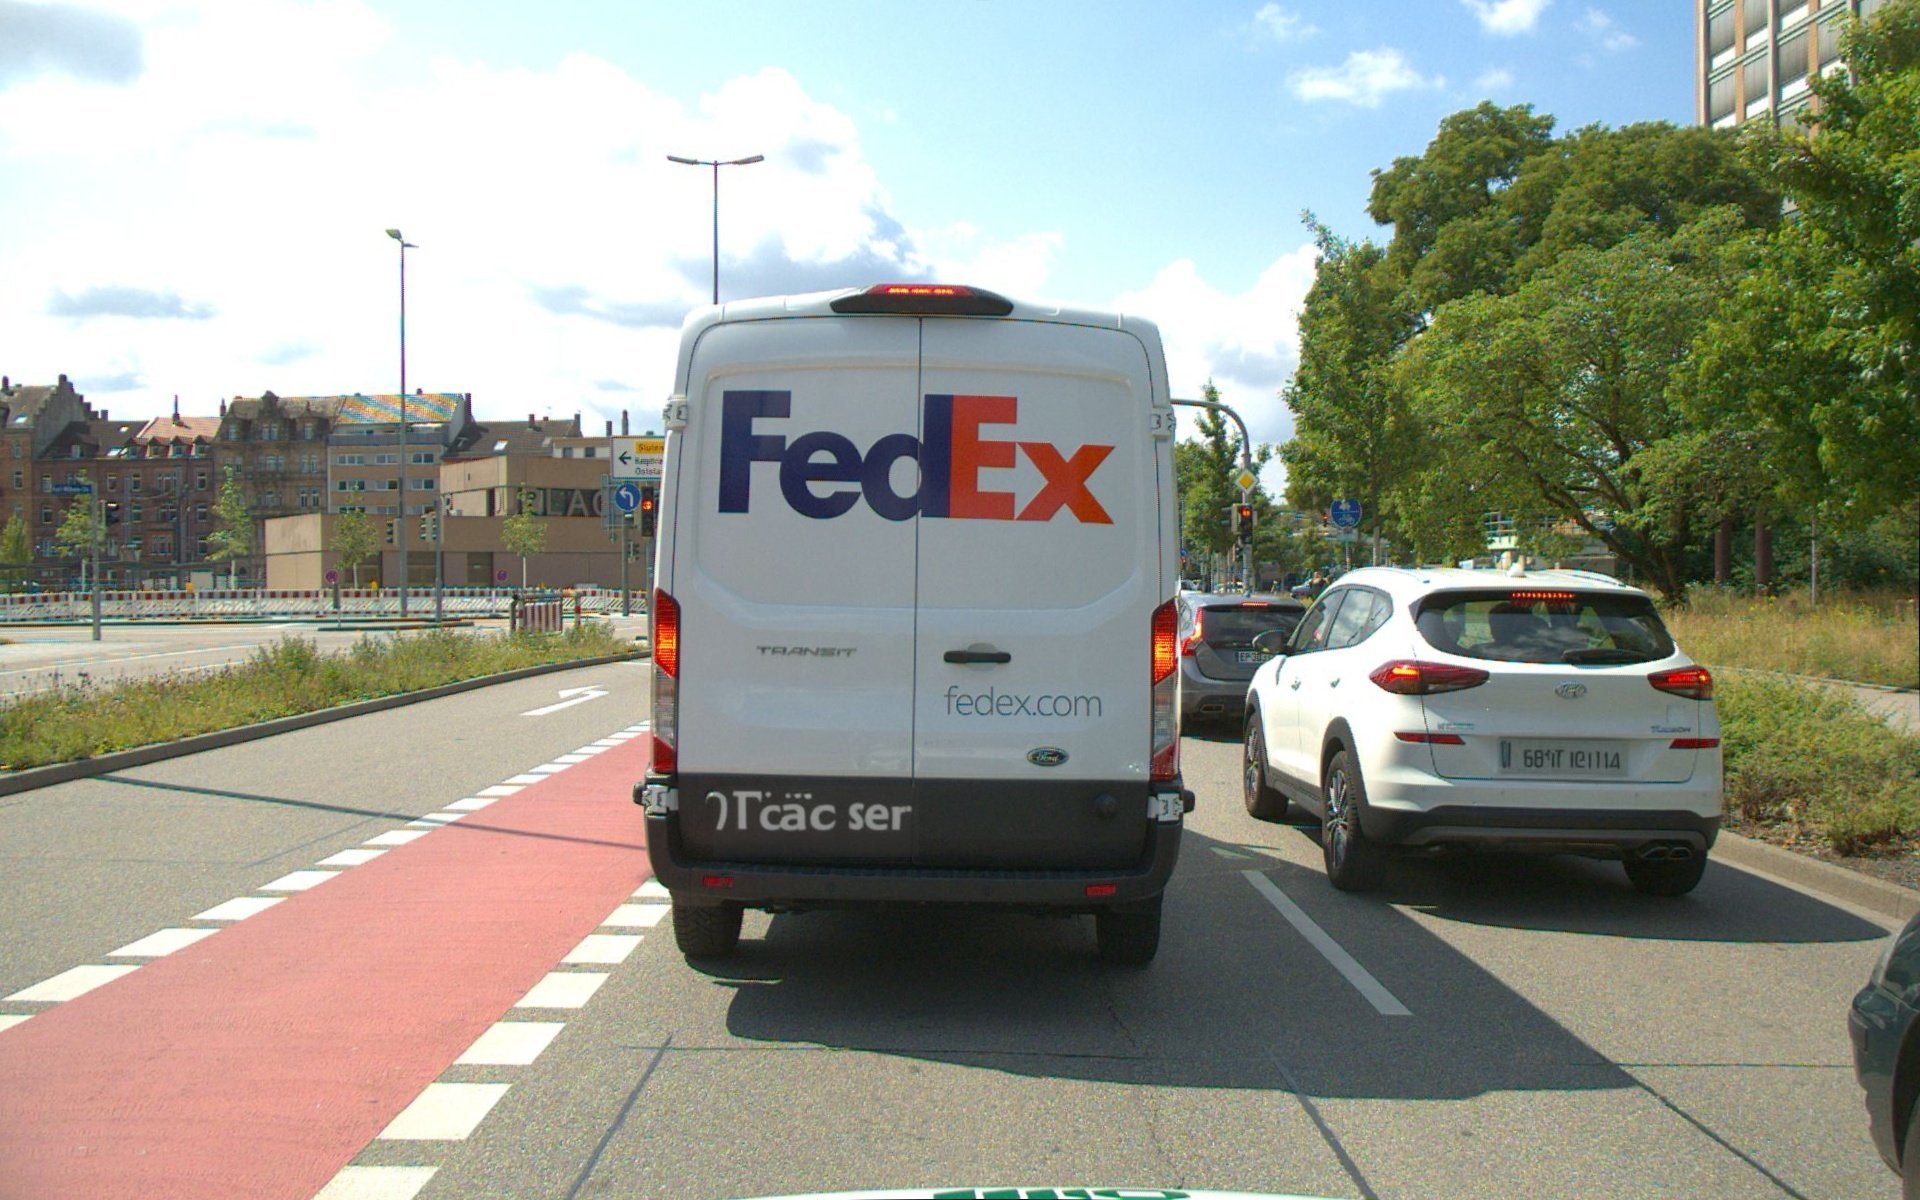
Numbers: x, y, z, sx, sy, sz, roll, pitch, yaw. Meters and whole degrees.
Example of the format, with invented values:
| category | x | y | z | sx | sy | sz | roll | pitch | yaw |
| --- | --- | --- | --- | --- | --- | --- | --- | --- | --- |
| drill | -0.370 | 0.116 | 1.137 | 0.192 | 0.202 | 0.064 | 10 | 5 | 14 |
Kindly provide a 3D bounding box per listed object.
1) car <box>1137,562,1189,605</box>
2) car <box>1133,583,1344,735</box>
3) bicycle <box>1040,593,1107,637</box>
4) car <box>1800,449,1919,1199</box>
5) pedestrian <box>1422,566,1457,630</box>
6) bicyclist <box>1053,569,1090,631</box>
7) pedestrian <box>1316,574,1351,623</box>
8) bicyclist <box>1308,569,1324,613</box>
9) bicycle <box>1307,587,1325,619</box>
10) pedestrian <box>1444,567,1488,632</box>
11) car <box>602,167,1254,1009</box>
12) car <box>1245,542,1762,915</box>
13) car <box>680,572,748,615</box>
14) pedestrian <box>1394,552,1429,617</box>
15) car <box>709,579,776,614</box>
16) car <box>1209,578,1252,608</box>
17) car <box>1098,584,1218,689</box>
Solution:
| category | x | y | z | sx | sy | sz | roll | pitch | yaw |
| --- | --- | --- | --- | --- | --- | --- | --- | --- | --- |
| car | 10.157 | -0.817 | 82.484 | 2.048 | 2.049 | 4.648 | 0 | 0 | 13 |
| car | 2.955 | 0.566 | 18.271 | 1.760 | 1.486 | 3.839 | 0 | 1 | 1 |
| bicycle | 3.461 | 0.462 | 50.549 | 2.022 | 1.312 | 0.604 | 0 | 0 | 0 |
| car | 2.884 | 0.605 | 1.673 | 1.775 | 1.764 | 4.388 | 1 | 1 | -1 |
| pedestrian | 15.680 | -0.073 | 54.075 | 0.830 | 2.049 | 0.738 | 0 | 1 | -15 |
| bicyclist | 3.408 | -0.007 | 50.688 | 1.096 | 1.877 | 0.593 | 0 | 1 | 0 |
| pedestrian | 10.748 | -0.053 | 47.637 | 0.827 | 1.413 | 0.741 | 0 | 1 | -1 |
| bicyclist | 12.176 | -0.301 | 56.580 | 0.538 | 1.500 | 0.972 | 0 | 1 | 12 |
| bicycle | 12.185 | 0.101 | 56.576 | 0.534 | 1.048 | 1.928 | 0 | 1 | 10 |
| pedestrian | 12.422 | -0.014 | 40.611 | 0.827 | 1.565 | 0.835 | 0 | 1 | -1 |
| car | -0.228 | -0.052 | 8.207 | 2.098 | 2.699 | 5.701 | 0 | 0 | -3 |
| car | 2.844 | 0.565 | 9.603 | 1.760 | 1.717 | 4.001 | 0 | 1 | 1 |
| car | -12.006 | -0.309 | 80.896 | 1.951 | 2.049 | 4.003 | 0 | 0 | 14 |
| pedestrian | 14.587 | -0.498 | 53.433 | 0.840 | 2.094 | 0.730 | -1 | 1 | -41 |
| car | -10.311 | -0.173 | 78.652 | 1.860 | 1.613 | 4.003 | 0 | 0 | 13 |
| car | 16.893 | -0.455 | 103.190 | 1.952 | 1.825 | 4.373 | 0 | 0 | 18 |
| car | 2.924 | 0.495 | 24.951 | 1.454 | 1.453 | 3.433 | 0 | 1 | 1 |
